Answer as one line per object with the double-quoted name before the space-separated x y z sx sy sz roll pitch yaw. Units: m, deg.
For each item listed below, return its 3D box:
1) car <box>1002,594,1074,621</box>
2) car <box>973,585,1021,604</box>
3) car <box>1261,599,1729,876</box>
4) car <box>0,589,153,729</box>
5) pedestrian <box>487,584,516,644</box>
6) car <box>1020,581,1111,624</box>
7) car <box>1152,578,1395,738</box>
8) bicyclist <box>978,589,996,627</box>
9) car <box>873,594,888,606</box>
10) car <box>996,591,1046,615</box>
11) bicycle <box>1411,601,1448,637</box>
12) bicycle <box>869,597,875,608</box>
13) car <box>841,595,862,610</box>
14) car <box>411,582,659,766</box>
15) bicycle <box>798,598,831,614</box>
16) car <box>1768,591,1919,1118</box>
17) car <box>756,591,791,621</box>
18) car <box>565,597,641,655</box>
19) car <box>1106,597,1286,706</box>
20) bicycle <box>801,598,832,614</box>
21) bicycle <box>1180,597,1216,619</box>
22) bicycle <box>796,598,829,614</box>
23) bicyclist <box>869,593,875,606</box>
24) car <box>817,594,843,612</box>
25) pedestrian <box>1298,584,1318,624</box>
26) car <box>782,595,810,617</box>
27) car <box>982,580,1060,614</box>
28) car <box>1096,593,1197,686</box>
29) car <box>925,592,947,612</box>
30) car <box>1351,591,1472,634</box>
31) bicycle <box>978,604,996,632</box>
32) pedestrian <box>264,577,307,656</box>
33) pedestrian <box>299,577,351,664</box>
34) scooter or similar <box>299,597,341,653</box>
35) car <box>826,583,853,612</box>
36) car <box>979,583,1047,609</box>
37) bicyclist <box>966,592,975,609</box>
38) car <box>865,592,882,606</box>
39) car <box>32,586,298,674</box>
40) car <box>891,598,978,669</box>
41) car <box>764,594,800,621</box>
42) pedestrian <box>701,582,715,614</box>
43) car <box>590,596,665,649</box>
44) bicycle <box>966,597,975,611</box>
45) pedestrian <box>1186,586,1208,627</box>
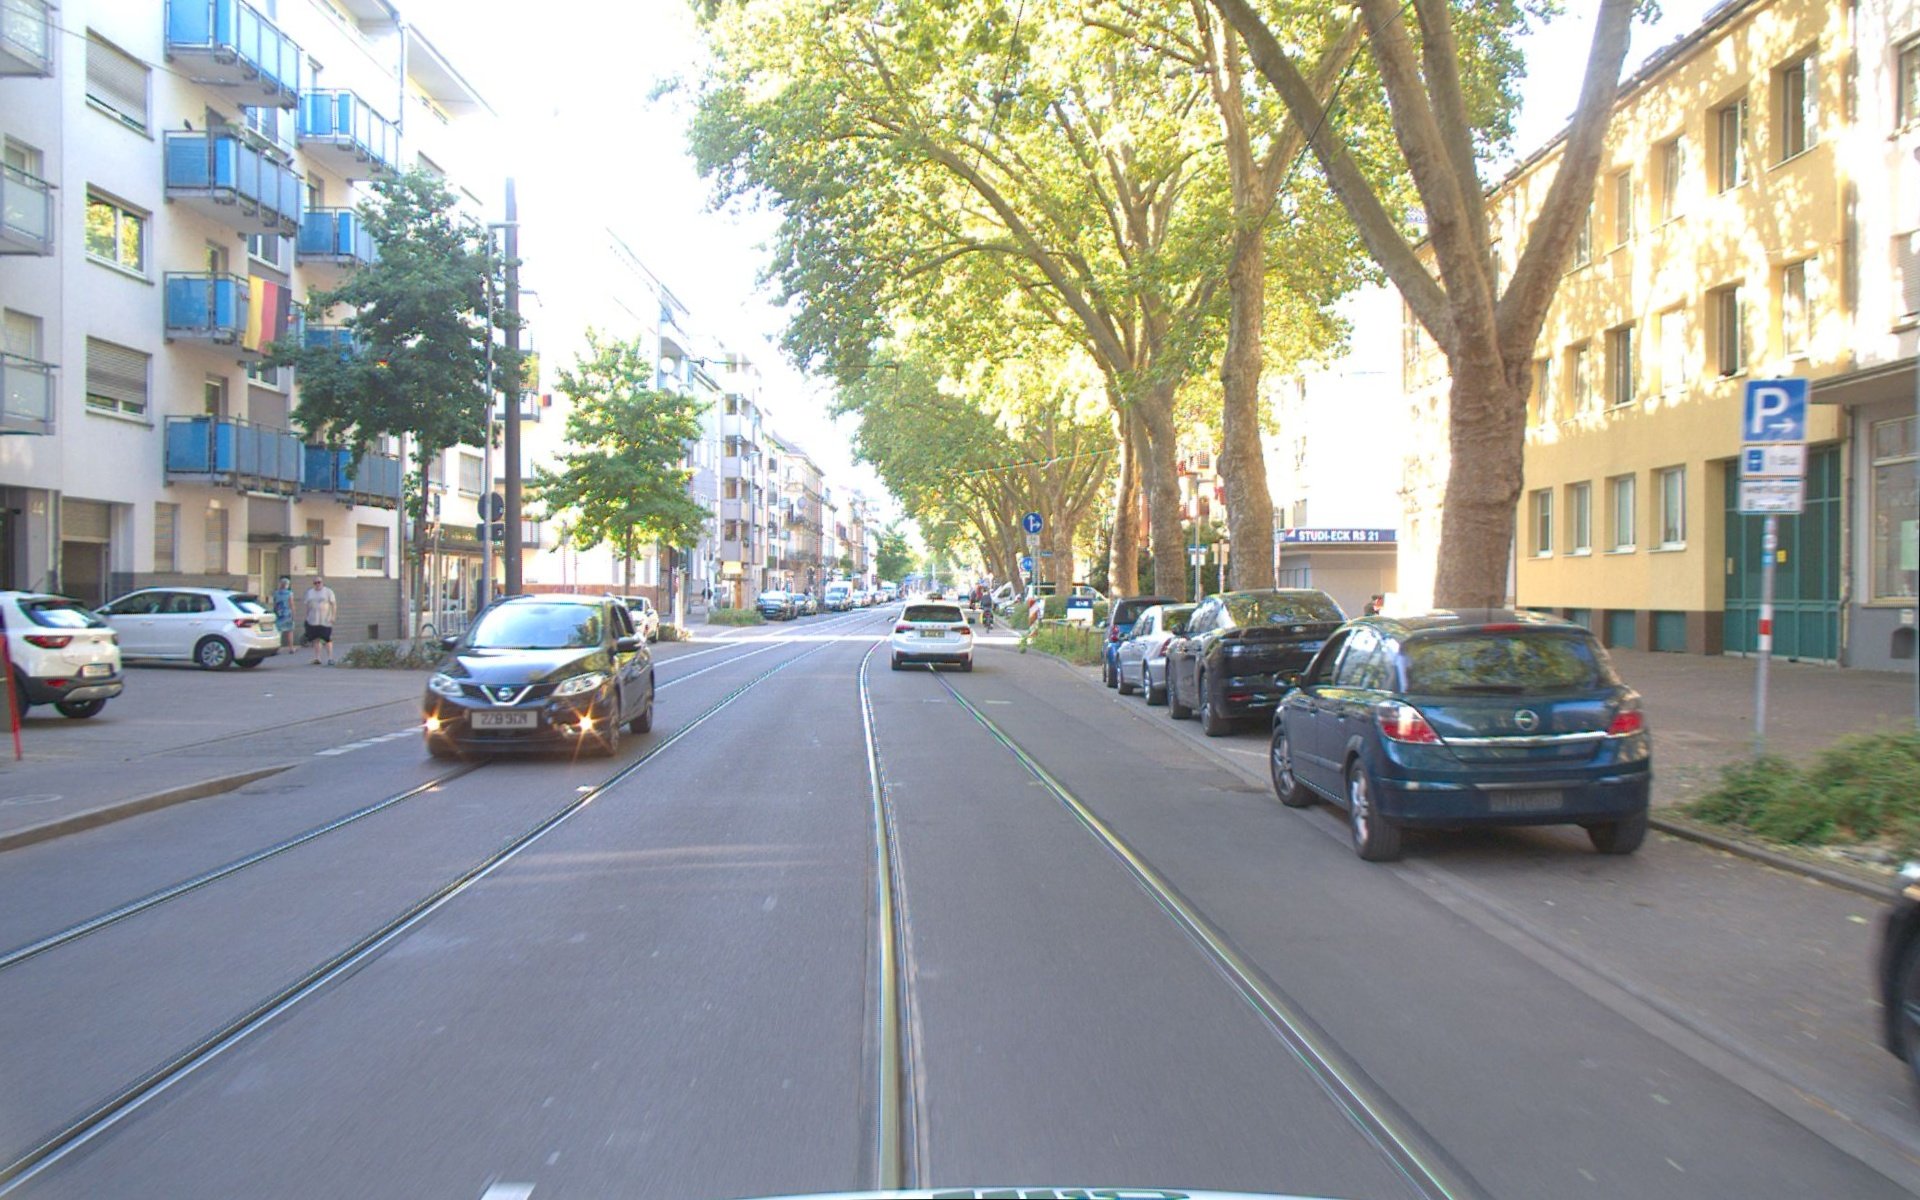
"car" 4.490 0.426 95.576 4.059 1.540 1.930 0 0 -2
"car" 4.662 -0.697 210.202 6.007 2.322 2.528 0 0 -2
"car" 3.303 0.749 11.137 1.826 1.462 4.227 -1 0 1
"car" -11.635 0.615 18.851 3.930 1.501 1.851 1 0 0
"pedestrian" -13.400 0.407 48.362 0.650 1.720 0.748 0 0 -2
"car" 5.352 0.118 84.374 4.453 2.113 1.999 0 0 -3
"car" 3.580 0.634 19.777 1.820 1.631 4.780 -1 -1 -2
"bicyclist" 1.073 0.307 65.773 0.664 1.468 1.047 0 0 0
"car" -11.289 -0.008 234.931 1.953 1.668 3.999 1 0 0
"car" 4.411 0.239 119.102 3.559 1.695 1.822 0 0 2
"bicycle" 15.091 0.602 53.190 0.570 1.123 1.922 -2 0 -1
"bicycle" -8.947 0.231 167.984 0.593 1.089 1.582 0 0 -3
"car" -11.302 0.215 173.104 1.953 1.557 4.000 0 0 0
"car" -4.133 0.640 16.715 1.835 1.617 4.141 0 0 -6
"bicycle" -11.427 0.468 129.901 2.476 1.193 0.718 2 -2 -7
"car" 3.628 0.721 3.014 1.729 1.488 5.010 0 0 -2
"car" -10.826 0.327 96.155 1.668 1.679 4.240 2 0 -2
"car" -10.114 0.698 47.047 1.681 1.489 3.993 3 0 -7
"car" 3.481 0.745 25.230 1.781 1.461 4.599 -1 -1 -4
"bicycle" -11.489 0.457 132.625 2.476 1.193 0.718 2 -2 -6
"bicycle" 13.220 0.440 91.929 1.908 1.177 0.571 -2 0 -8
"bicycle" -11.481 0.466 129.018 2.509 1.193 0.870 3 -2 -41
"bicyclist" -8.945 -0.048 167.978 0.585 1.308 0.916 0 0 -3
"car" -11.055 0.258 141.055 1.953 1.557 4.000 0 0 0
"pedestrian" 14.681 0.173 69.756 0.731 1.673 0.666 0 0 1
"car" -11.115 0.419 112.041 1.620 1.462 3.835 0 0 -2
"car" 4.821 -0.257 131.360 6.007 2.681 2.528 0 0 -2
"car" 3.313 0.693 29.765 1.531 1.545 2.911 -1 -1 2
"car" -1.904 0.152 131.275 1.725 1.501 4.000 0 0 0
"car" 17.168 0.475 62.988 4.051 1.621 1.998 0 0 -6
"bicycle" 1.078 0.700 65.781 0.667 1.089 1.781 0 0 0
"pedestrian" -14.793 0.359 36.297 0.650 1.720 0.748 0 0 -2
"pedestrian" -12.746 0.406 33.202 0.748 1.720 0.794 0 0 -2
"scooter or similar" -15.454 0.585 39.963 0.367 1.312 1.238 -2 0 7
"car" -11.084 -0.274 152.779 2.134 2.642 4.948 0 0 0
"car" 4.807 -0.363 149.979 6.007 2.322 2.528 0 0 -2
"bicyclist" 0.823 0.047 128.814 0.636 1.367 0.934 0 0 -2
"car" -10.907 -0.140 209.108 1.953 1.668 3.999 1 0 0
"car" -14.481 0.546 30.298 3.932 1.501 1.850 1 0 -3
"car" -0.573 0.667 35.130 1.726 1.408 3.999 0 0 -2
"car" -10.868 0.437 101.234 1.667 1.571 4.241 2 0 -1
"pedestrian" -14.538 -0.111 95.350 0.650 1.858 0.965 0 0 -2
"car" -10.344 0.669 51.703 1.680 1.489 4.373 3 0 -4
"bicycle" 0.830 0.319 128.802 0.636 1.089 1.582 0 0 -2
"pedestrian" 11.059 0.279 77.225 0.751 1.899 1.187 0 0 -4
